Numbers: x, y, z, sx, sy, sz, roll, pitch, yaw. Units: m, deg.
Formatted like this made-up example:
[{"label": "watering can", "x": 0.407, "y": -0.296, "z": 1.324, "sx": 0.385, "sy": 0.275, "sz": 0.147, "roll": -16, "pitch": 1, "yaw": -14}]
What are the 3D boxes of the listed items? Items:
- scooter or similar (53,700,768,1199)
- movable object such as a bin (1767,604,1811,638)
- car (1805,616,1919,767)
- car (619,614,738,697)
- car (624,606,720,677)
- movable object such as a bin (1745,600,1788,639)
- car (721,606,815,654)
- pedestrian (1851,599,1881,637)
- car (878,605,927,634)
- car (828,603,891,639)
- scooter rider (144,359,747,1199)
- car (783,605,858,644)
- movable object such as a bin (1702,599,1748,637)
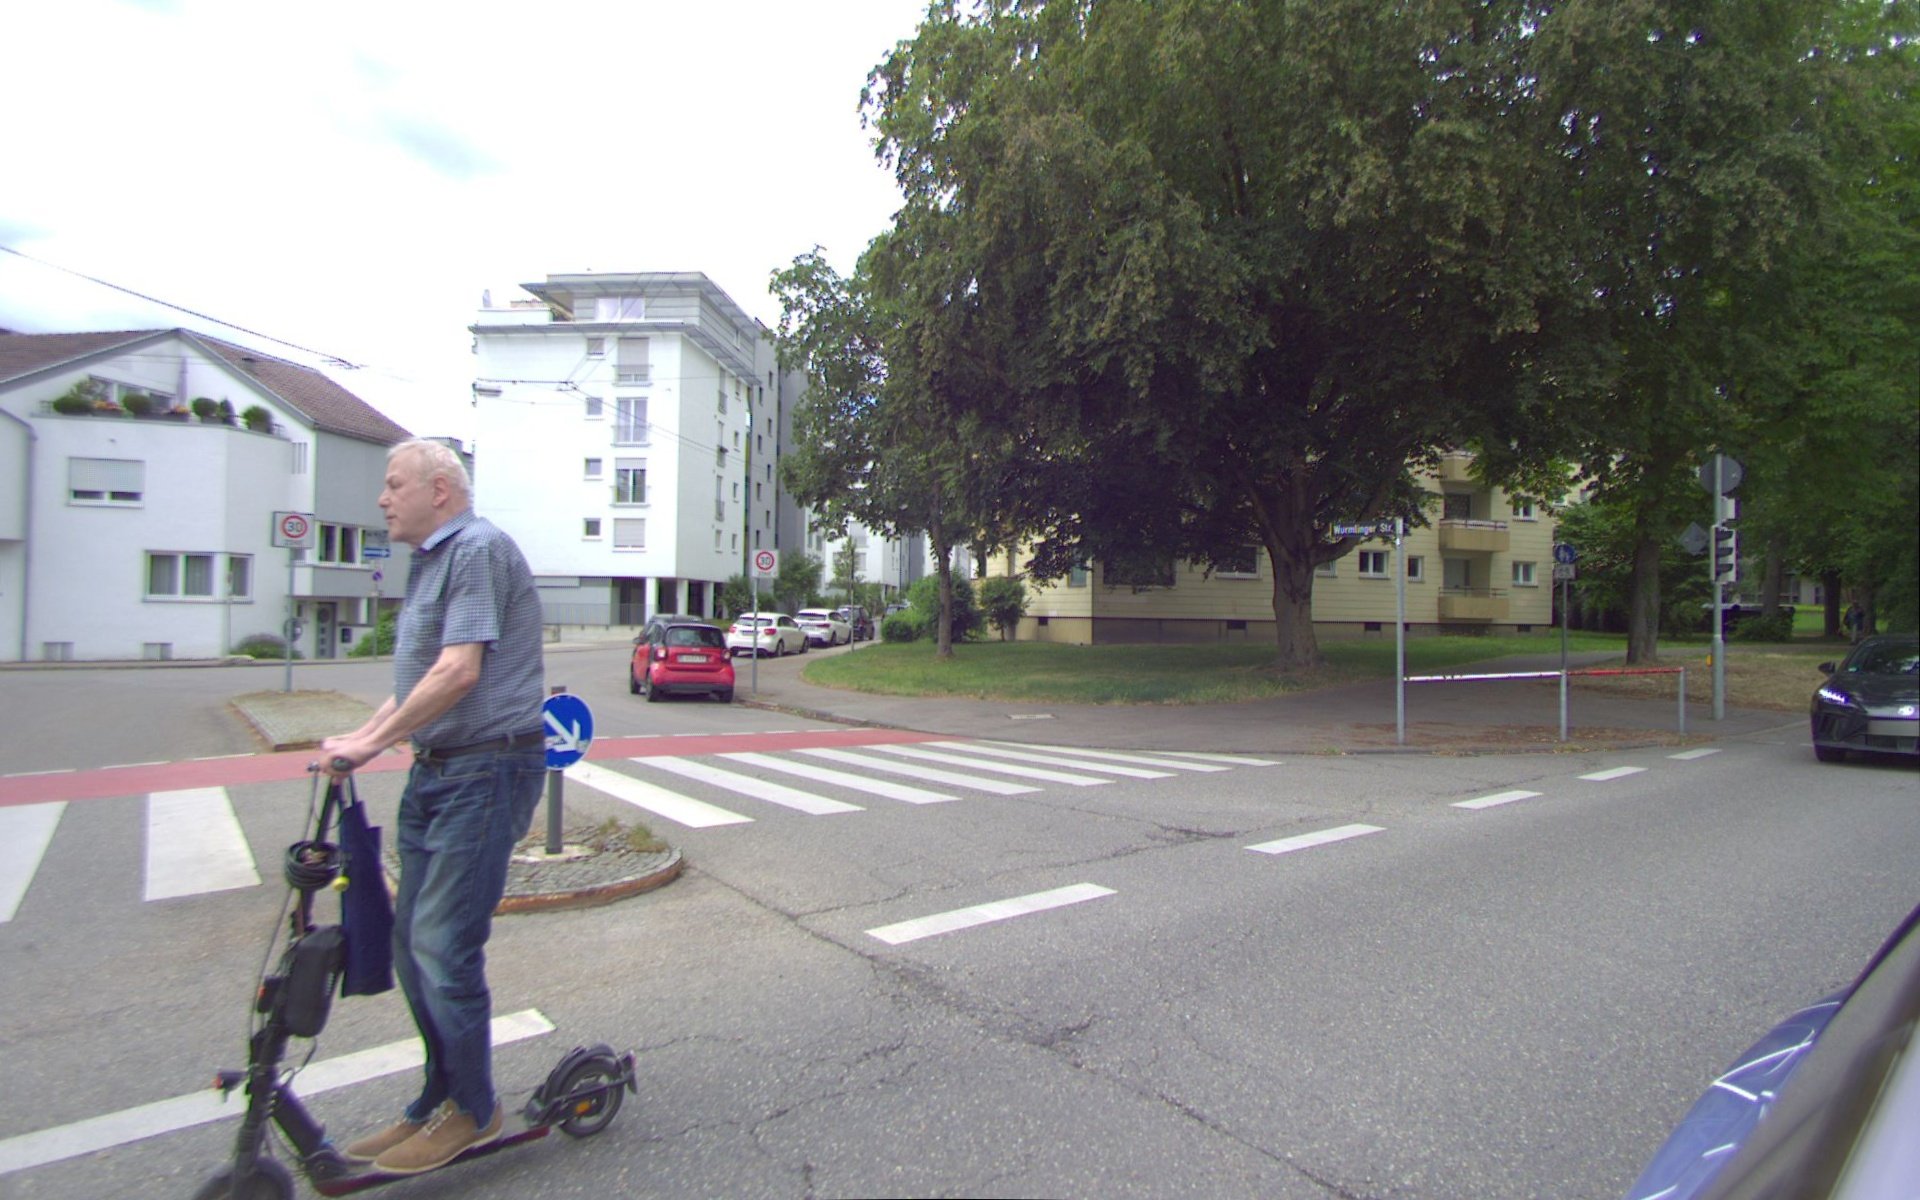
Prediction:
[{"label": "scooter or similar", "x": -1.282, "y": 0.890, "z": 2.575, "sx": 0.681, "sy": 1.154, "sz": 1.438, "roll": -1, "pitch": -2, "yaw": 41}, {"label": "movable object such as a bin", "x": 38.225, "y": 0.956, "z": 46.686, "sx": 1.180, "sy": 1.493, "sz": 1.328, "roll": -1, "pitch": 2, "yaw": -37}, {"label": "car", "x": 11.698, "y": 1.040, "z": 12.011, "sx": 4.220, "sy": 1.570, "sz": 1.803, "roll": 3, "pitch": -2, "yaw": -39}, {"label": "car", "x": -5.690, "y": 1.073, "z": 20.288, "sx": 1.661, "sy": 1.526, "sz": 2.924, "roll": 2, "pitch": -2, "yaw": -28}, {"label": "car", "x": -7.023, "y": 0.980, "z": 25.002, "sx": 1.781, "sy": 1.611, "sz": 3.830, "roll": 0, "pitch": -1, "yaw": -8}, {"label": "movable object such as a bin", "x": 36.229, "y": 0.848, "z": 45.464, "sx": 1.002, "sy": 1.662, "sz": 1.278, "roll": -1, "pitch": 2, "yaw": -37}, {"label": "car", "x": -6.407, "y": 0.957, "z": 34.205, "sx": 1.766, "sy": 1.452, "sz": 4.059, "roll": 1, "pitch": 0, "yaw": 10}, {"label": "pedestrian", "x": 33.650, "y": 0.654, "z": 37.588, "sx": 0.594, "sy": 1.398, "sz": 0.689, "roll": 0, "pitch": 0, "yaw": -34}, {"label": "car", "x": -3.099, "y": 1.047, "z": 55.002, "sx": 1.766, "sy": 1.430, "sz": 4.059, "roll": 1, "pitch": 0, "yaw": 10}, {"label": "car", "x": -4.434, "y": 0.903, "z": 45.179, "sx": 1.766, "sy": 1.430, "sz": 4.059, "roll": 1, "pitch": 0, "yaw": 10}, {"label": "scooter rider", "x": -1.247, "y": 0.427, "z": 2.597, "sx": 0.681, "sy": 1.752, "sz": 1.178, "roll": -1, "pitch": -2, "yaw": 41}, {"label": "car", "x": -5.480, "y": 0.923, "z": 40.219, "sx": 1.766, "sy": 1.372, "sz": 4.059, "roll": 1, "pitch": 0, "yaw": 10}, {"label": "movable object such as a bin", "x": 35.254, "y": 0.801, "z": 46.651, "sx": 1.001, "sy": 1.662, "sz": 1.435, "roll": -1, "pitch": 2, "yaw": -37}]
